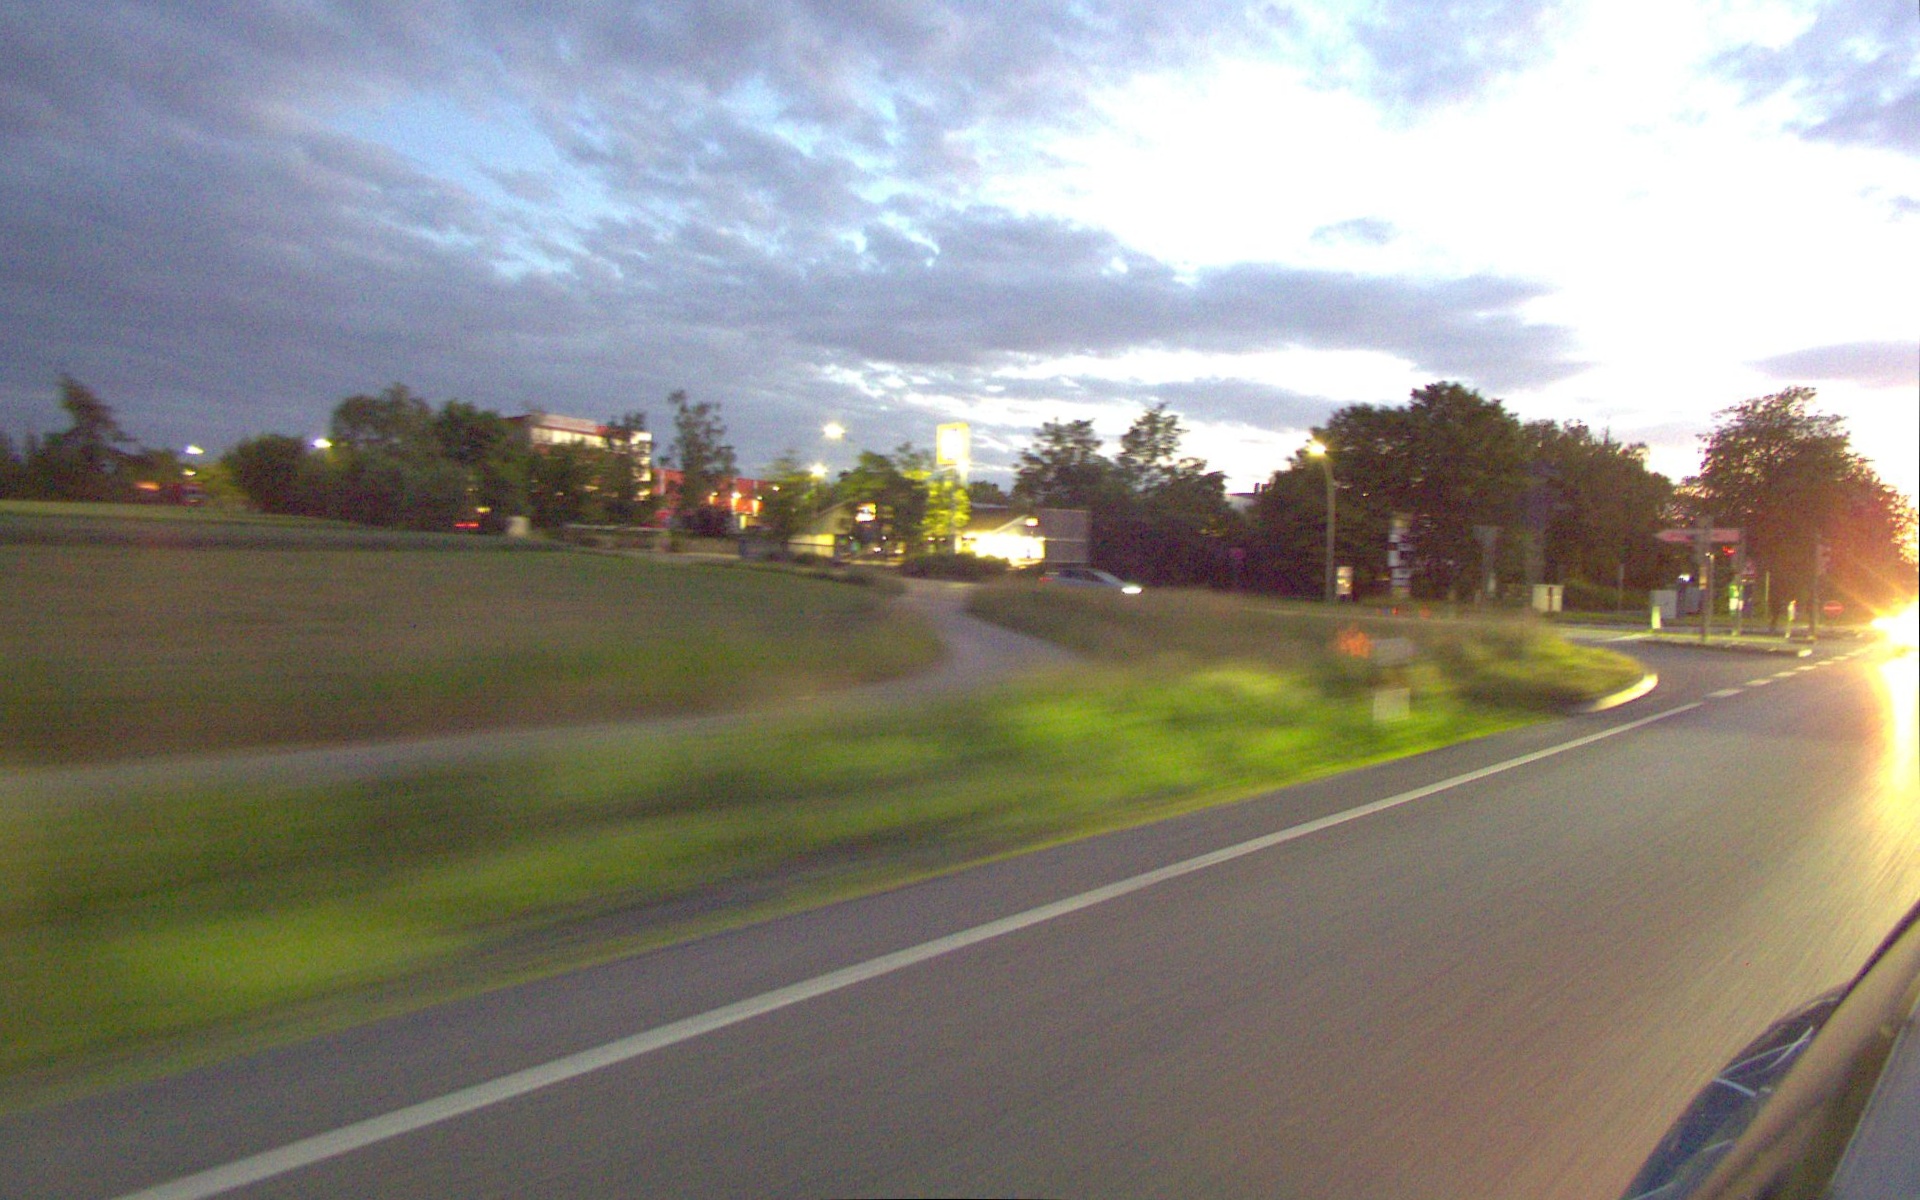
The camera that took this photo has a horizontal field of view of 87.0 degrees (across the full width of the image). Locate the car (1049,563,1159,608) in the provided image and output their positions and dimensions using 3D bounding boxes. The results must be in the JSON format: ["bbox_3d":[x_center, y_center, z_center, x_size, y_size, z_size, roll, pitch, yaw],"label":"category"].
[{"bbox_3d":[6.319,-0.677,44.277,4.423,1.684,1.987,4,3,20],"label":"car"}]

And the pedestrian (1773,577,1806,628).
[{"bbox_3d":[33.465,0.088,40.819,0.768,2.039,0.712,0,0,9],"label":"pedestrian"}]

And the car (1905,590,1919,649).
[{"bbox_3d":[27.035,0.556,27.540,3.651,1.556,1.661,1,0,-43],"label":"car"}]
